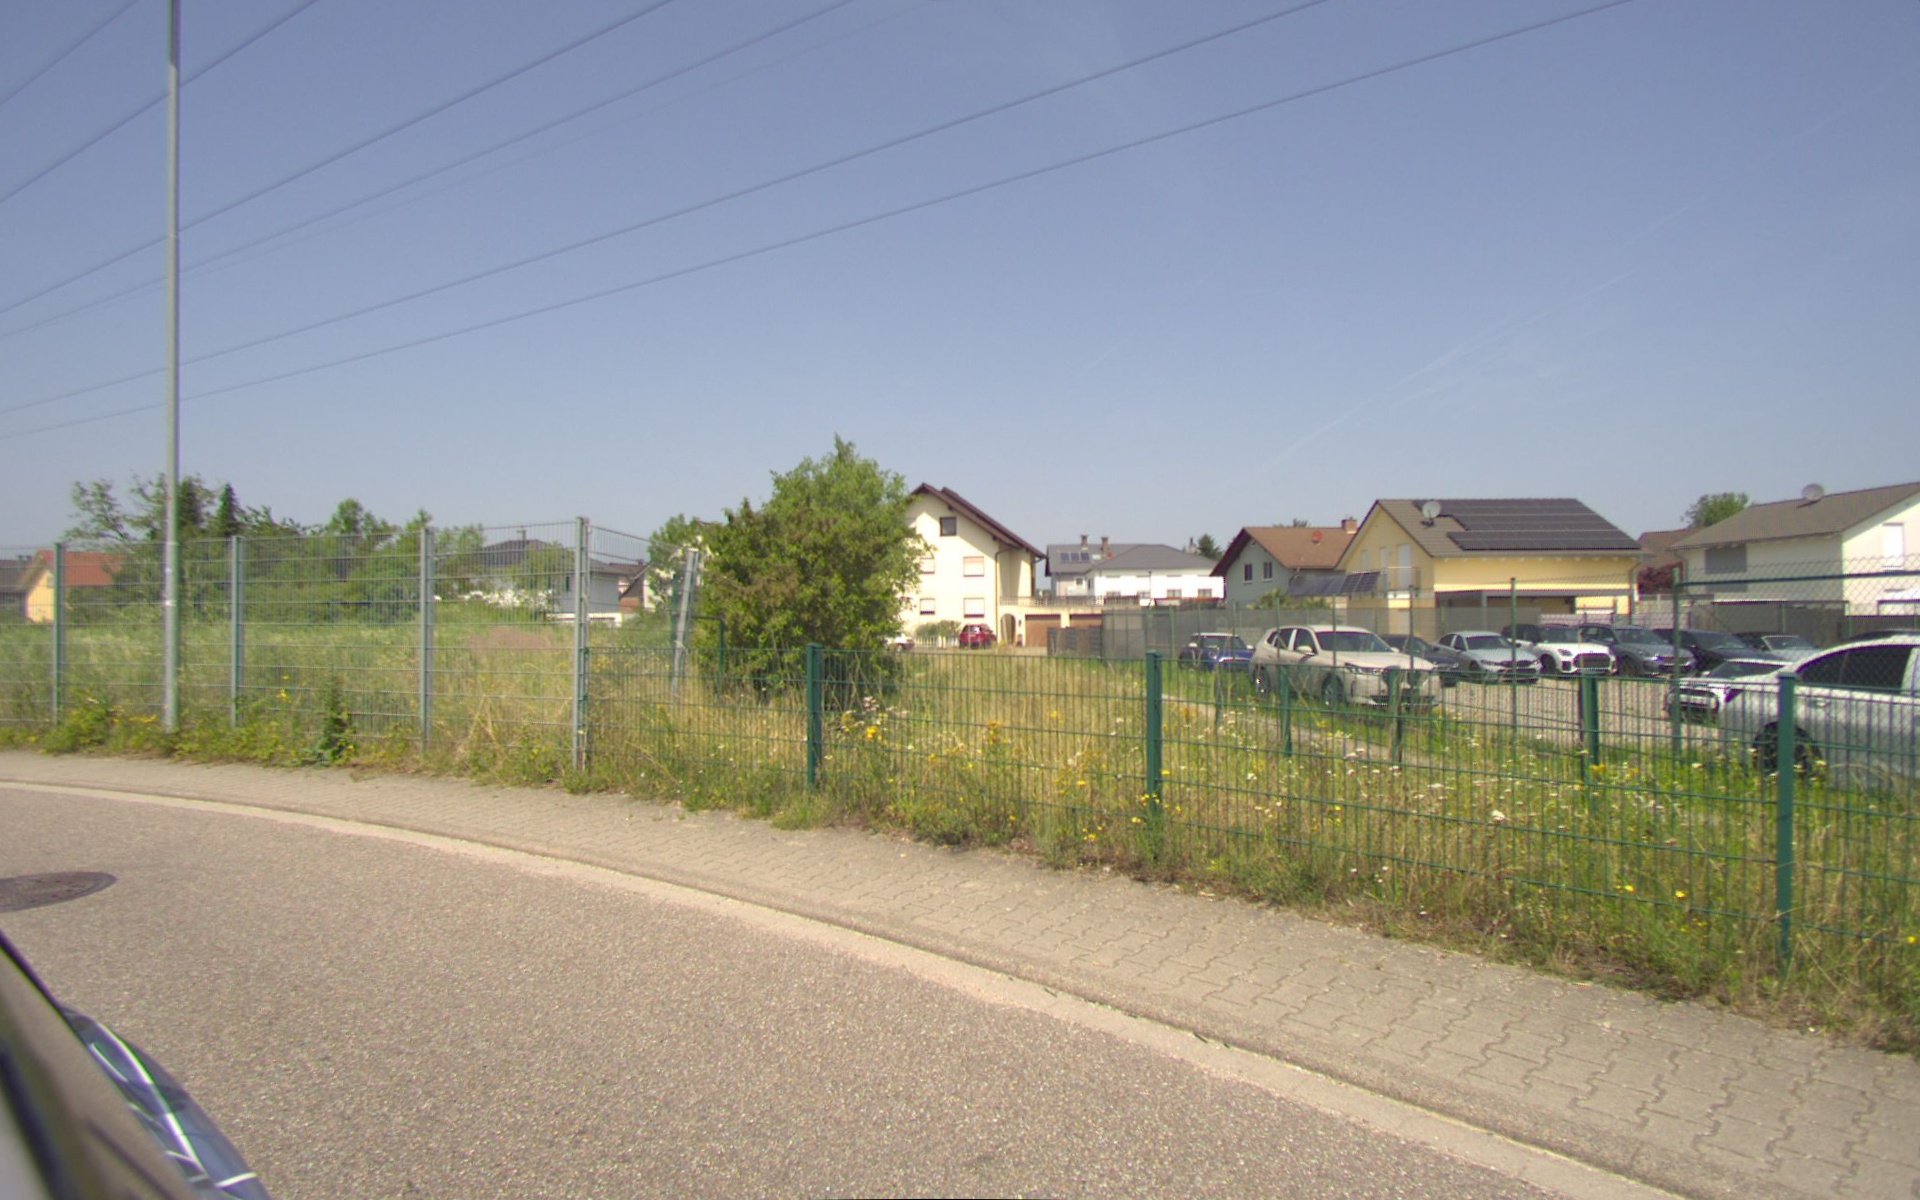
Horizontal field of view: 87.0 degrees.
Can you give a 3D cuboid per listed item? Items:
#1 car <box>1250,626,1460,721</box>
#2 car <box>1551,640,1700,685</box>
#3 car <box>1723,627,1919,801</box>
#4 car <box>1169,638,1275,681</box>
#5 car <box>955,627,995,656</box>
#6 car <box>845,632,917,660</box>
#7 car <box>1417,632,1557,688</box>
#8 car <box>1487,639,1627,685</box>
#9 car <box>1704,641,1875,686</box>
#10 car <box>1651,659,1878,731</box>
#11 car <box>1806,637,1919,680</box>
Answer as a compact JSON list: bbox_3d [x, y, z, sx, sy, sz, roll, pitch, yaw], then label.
[{"bbox_3d":[7.469,1.330,19.706,2.011,1.574,4.442,0,-1,-5],"label":"car"},{"bbox_3d":[21.207,1.947,32.462,1.767,1.245,4.139,0,-1,-5],"label":"car"},{"bbox_3d":[8.382,0.889,7.419,1.840,1.317,4.567,0,-1,-5],"label":"car"},{"bbox_3d":[7.790,1.739,30.471,1.839,1.116,4.008,0,-1,-5],"label":"car"},{"bbox_3d":[1.004,2.661,65.133,1.847,1.741,4.119,0,-1,12],"label":"car"},{"bbox_3d":[-4.849,2.817,62.377,4.044,1.697,1.858,-1,-1,13],"label":"car"},{"bbox_3d":[16.538,1.838,32.023,2.011,1.548,4.139,0,-1,-5],"label":"car"},{"bbox_3d":[18.944,1.937,32.352,1.767,1.245,4.139,0,-1,-5],"label":"car"},{"bbox_3d":[26.184,1.970,32.151,1.767,1.245,4.139,0,-1,-5],"label":"car"},{"bbox_3d":[16.361,1.906,20.685,3.341,1.324,1.660,0,-1,-3],"label":"car"},{"bbox_3d":[30.440,1.890,33.484,1.768,1.245,3.610,0,-1,-2],"label":"car"}]
